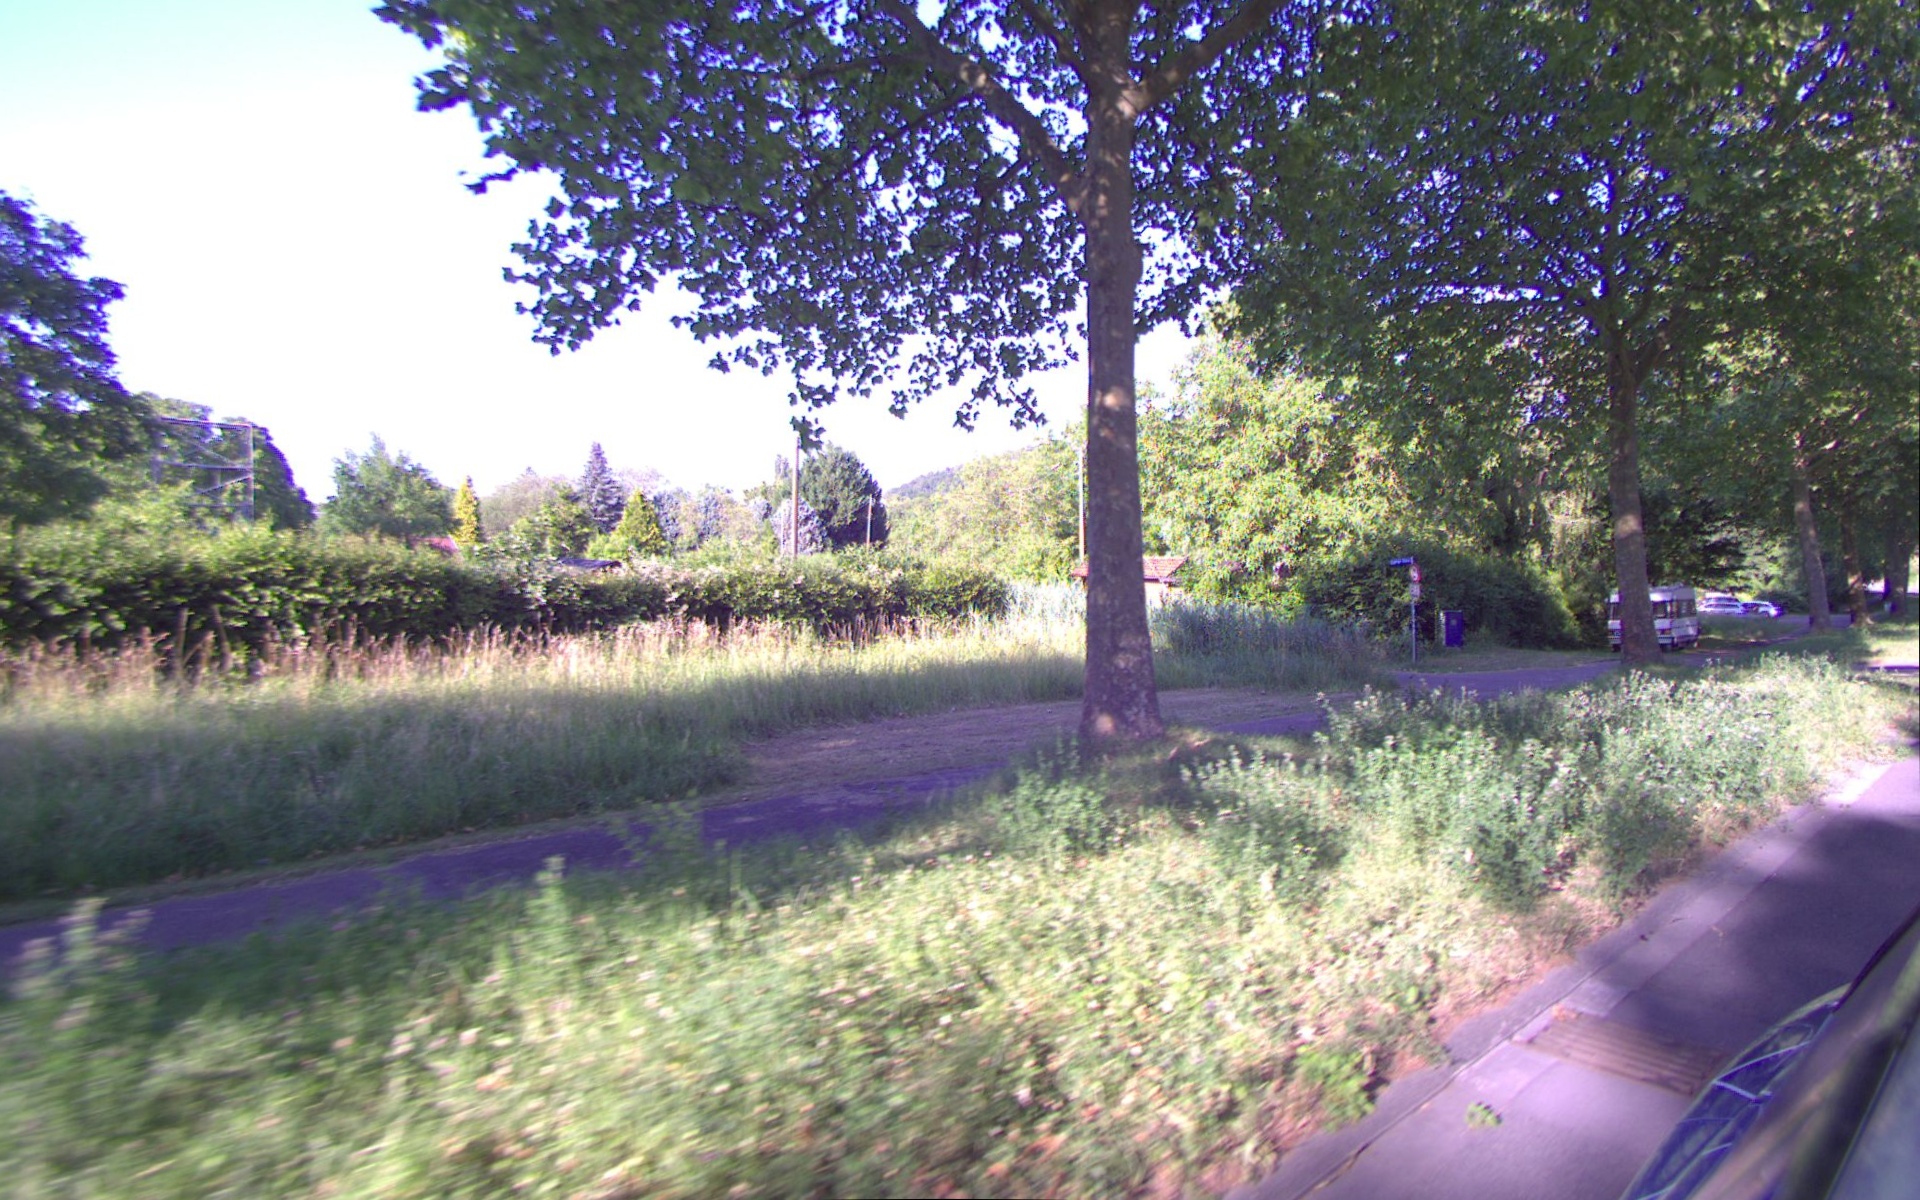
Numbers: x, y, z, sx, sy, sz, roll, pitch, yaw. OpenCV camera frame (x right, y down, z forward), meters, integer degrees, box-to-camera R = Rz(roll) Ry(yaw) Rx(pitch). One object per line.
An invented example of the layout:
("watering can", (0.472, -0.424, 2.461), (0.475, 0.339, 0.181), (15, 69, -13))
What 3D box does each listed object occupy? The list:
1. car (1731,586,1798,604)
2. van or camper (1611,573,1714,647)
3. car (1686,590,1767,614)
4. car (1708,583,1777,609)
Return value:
("car", (66.840, -0.453, 84.147), (1.963, 1.403, 3.999), (-1, 2, -36))
("van or camper", (29.041, 0.311, 41.770), (5.590, 2.834, 2.383), (-2, 2, -43))
("car", (57.909, 0.109, 76.502), (1.963, 1.690, 4.515), (-1, 2, -36))
("car", (62.153, -0.344, 80.425), (1.963, 2.038, 3.999), (-1, 2, -36))
